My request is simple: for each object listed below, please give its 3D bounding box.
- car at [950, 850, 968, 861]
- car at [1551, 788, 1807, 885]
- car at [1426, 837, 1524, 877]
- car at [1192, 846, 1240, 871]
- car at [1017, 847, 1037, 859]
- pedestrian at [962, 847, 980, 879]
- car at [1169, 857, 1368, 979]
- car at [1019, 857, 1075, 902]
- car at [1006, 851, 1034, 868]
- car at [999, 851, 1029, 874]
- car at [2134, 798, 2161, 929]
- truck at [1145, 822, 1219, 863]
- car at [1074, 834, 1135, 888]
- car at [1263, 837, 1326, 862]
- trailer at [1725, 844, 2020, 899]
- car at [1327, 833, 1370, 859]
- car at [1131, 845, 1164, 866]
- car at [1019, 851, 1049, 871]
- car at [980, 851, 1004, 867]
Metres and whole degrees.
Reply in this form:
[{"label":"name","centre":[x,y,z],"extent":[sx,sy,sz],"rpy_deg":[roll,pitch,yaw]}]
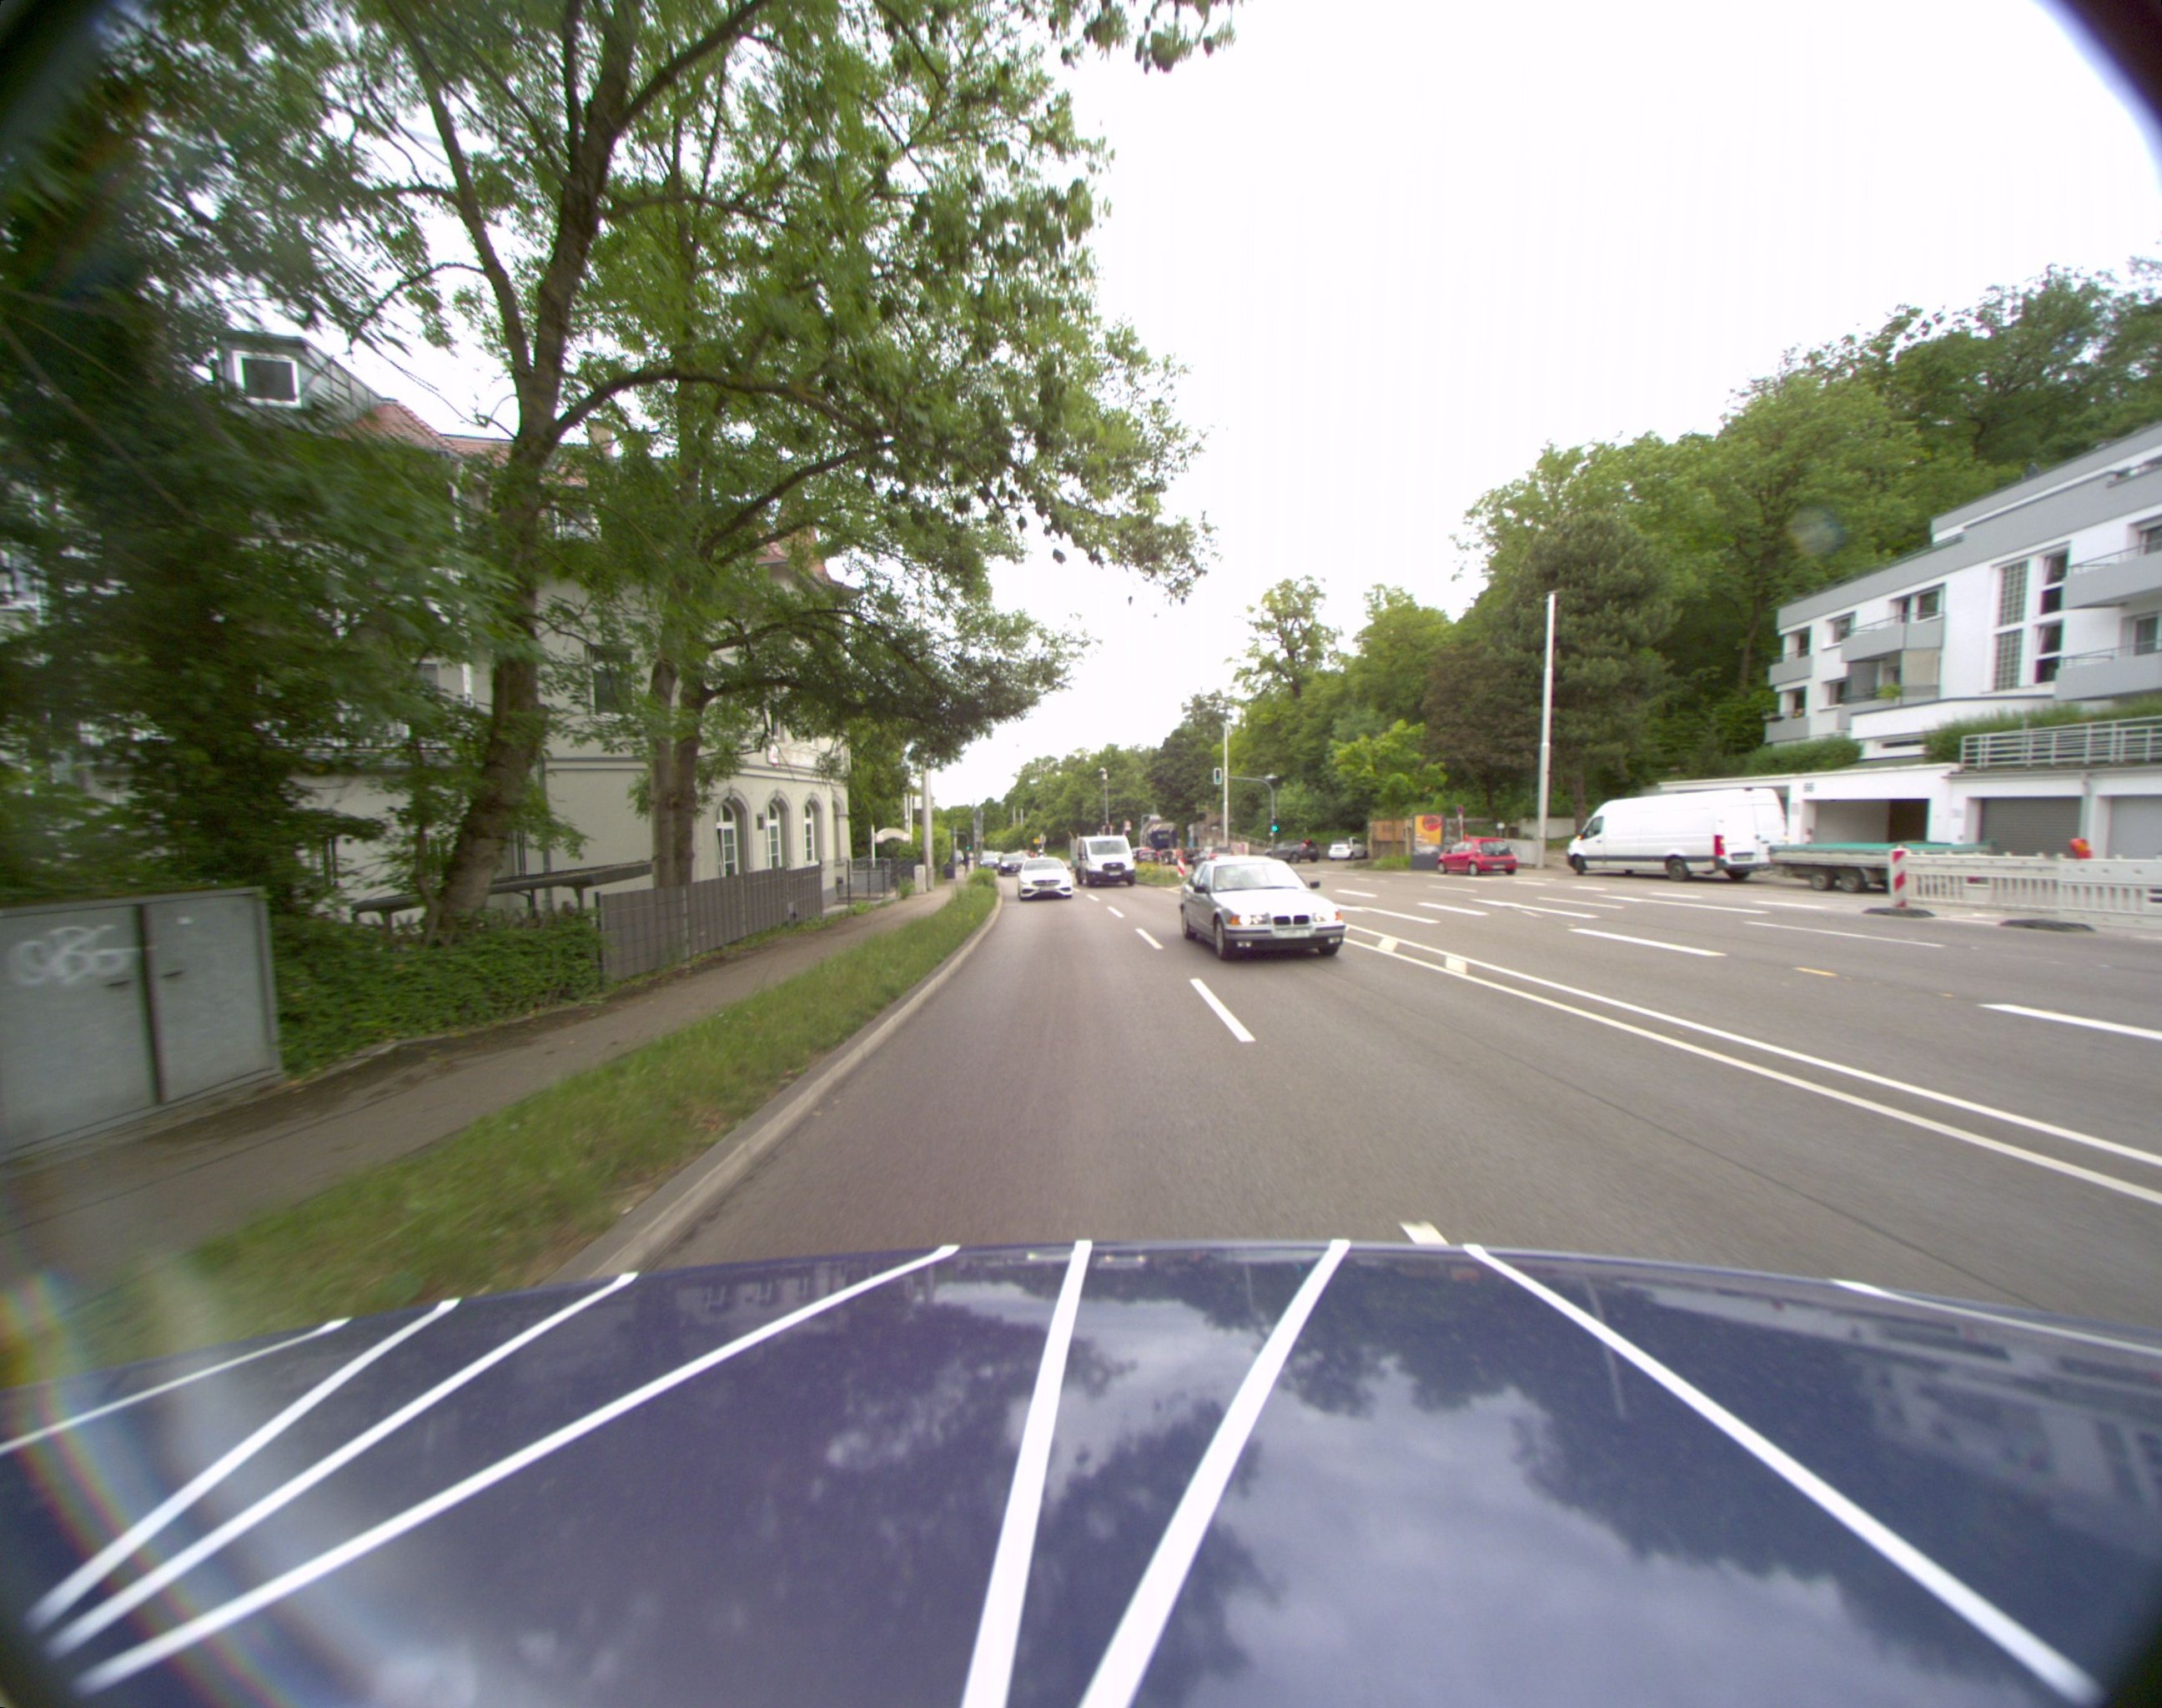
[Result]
[{"label":"car","centre":[-15.910,0.234,99.209],"extent":[1.809,1.385,4.278],"rpy_deg":[-2,1,-16]},{"label":"car","centre":[18.476,-0.508,24.261],"extent":[2.237,2.553,7.420],"rpy_deg":[-2,1,-1]},{"label":"car","centre":[15.686,0.091,30.450],"extent":[1.626,1.457,3.924],"rpy_deg":[-2,1,-5]},{"label":"car","centre":[8.127,0.231,46.084],"extent":[1.848,1.385,4.281],"rpy_deg":[-2,1,-5]},{"label":"car","centre":[-7.265,-0.192,101.449],"extent":[1.698,1.492,4.548],"rpy_deg":[-3,1,-15]},{"label":"pedestrian","centre":[-6.503,0.522,44.883],"extent":[0.618,1.823,0.696],"rpy_deg":[-2,2,38]},{"label":"car","centre":[2.635,0.814,11.861],"extent":[1.757,1.385,4.613],"rpy_deg":[-2,1,-2]},{"label":"car","centre":[-1.283,0.840,26.977],"extent":[1.808,1.385,4.281],"rpy_deg":[-1,0,-5]},{"label":"car","centre":[-5.916,0.472,73.138],"extent":[1.680,1.532,4.608],"rpy_deg":[-1,1,-16]},{"label":"car","centre":[-4.781,0.569,53.827],"extent":[1.679,1.532,4.610],"rpy_deg":[-1,1,-10]},{"label":"car","centre":[17.003,0.144,9.022],"extent":[1.987,1.956,5.219],"rpy_deg":[-2,1,4]},{"label":"truck","centre":[8.035,-0.896,61.926],"extent":[2.971,2.954,8.968],"rpy_deg":[-3,1,-12]},{"label":"car","centre":[0.900,0.234,33.733],"extent":[2.253,2.114,6.667],"rpy_deg":[-2,1,-2]},{"label":"car","centre":[14.268,-0.281,50.984],"extent":[1.601,1.531,4.124],"rpy_deg":[-2,1,-27]},{"label":"trailer","centre":[18.585,0.348,18.264],"extent":[2.252,1.105,4.621],"rpy_deg":[-2,1,-1]},{"label":"car","centre":[18.269,-0.541,51.835],"extent":[2.715,1.512,1.560],"rpy_deg":[-6,4,-40]},{"label":"car","centre":[5.126,0.082,59.335],"extent":[1.701,1.488,4.483],"rpy_deg":[-3,1,-6]},{"label":"car","centre":[-3.944,0.528,62.861],"extent":[1.679,1.532,4.547],"rpy_deg":[-1,1,-13]},{"label":"car","centre":[-8.346,0.418,71.262],"extent":[1.809,1.385,4.279],"rpy_deg":[-2,1,-12]}]
